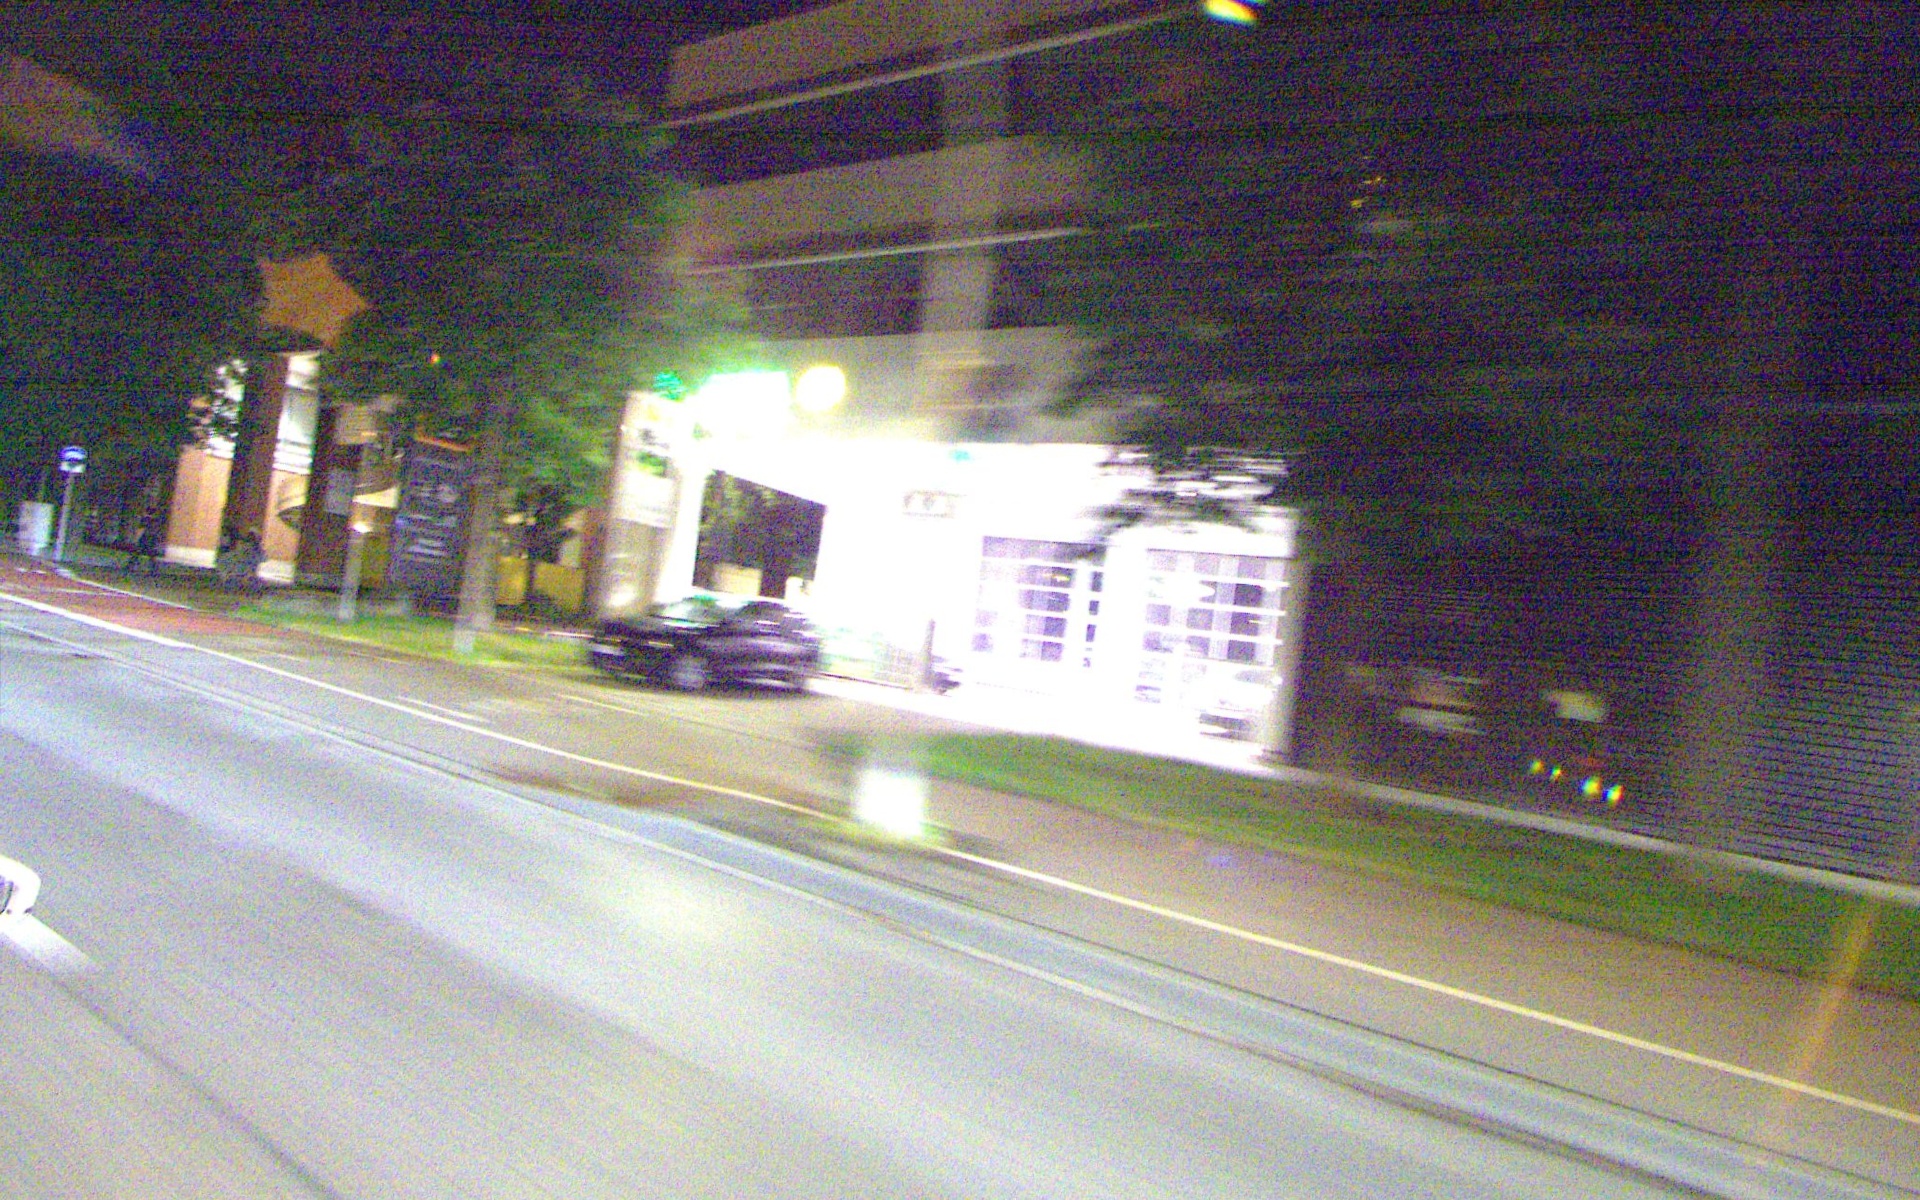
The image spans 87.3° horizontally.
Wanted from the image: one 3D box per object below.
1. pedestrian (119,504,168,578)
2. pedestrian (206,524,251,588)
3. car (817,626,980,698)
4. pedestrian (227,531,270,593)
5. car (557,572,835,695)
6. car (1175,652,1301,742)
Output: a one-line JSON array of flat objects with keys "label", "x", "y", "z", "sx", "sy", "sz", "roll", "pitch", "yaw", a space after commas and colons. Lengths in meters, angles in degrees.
[{"label": "pedestrian", "x": -21.586, "y": -1.566, "z": 26.589, "sx": 0.746, "sy": 1.832, "sz": 0.623, "roll": 7, "pitch": -1, "yaw": 32}, {"label": "pedestrian", "x": -20.147, "y": -1.214, "z": 27.719, "sx": 0.668, "sy": 1.658, "sz": 0.622, "roll": 7, "pitch": -1, "yaw": 32}, {"label": "car", "x": -1.450, "y": 1.439, "z": 23.508, "sx": 3.481, "sy": 1.181, "sz": 1.461, "roll": 6, "pitch": -3, "yaw": 31}, {"label": "pedestrian", "x": -19.251, "y": -1.022, "z": 27.218, "sx": 0.623, "sy": 1.551, "sz": 0.573, "roll": 7, "pitch": -1, "yaw": 32}, {"label": "car", "x": -3.980, "y": 0.606, "z": 15.862, "sx": 1.757, "sy": 1.471, "sz": 4.090, "roll": 6, "pitch": -2, "yaw": 30}, {"label": "car", "x": 6.132, "y": 2.122, "z": 21.896, "sx": 1.686, "sy": 1.583, "sz": 3.962, "roll": 6, "pitch": -3, "yaw": 28}]
